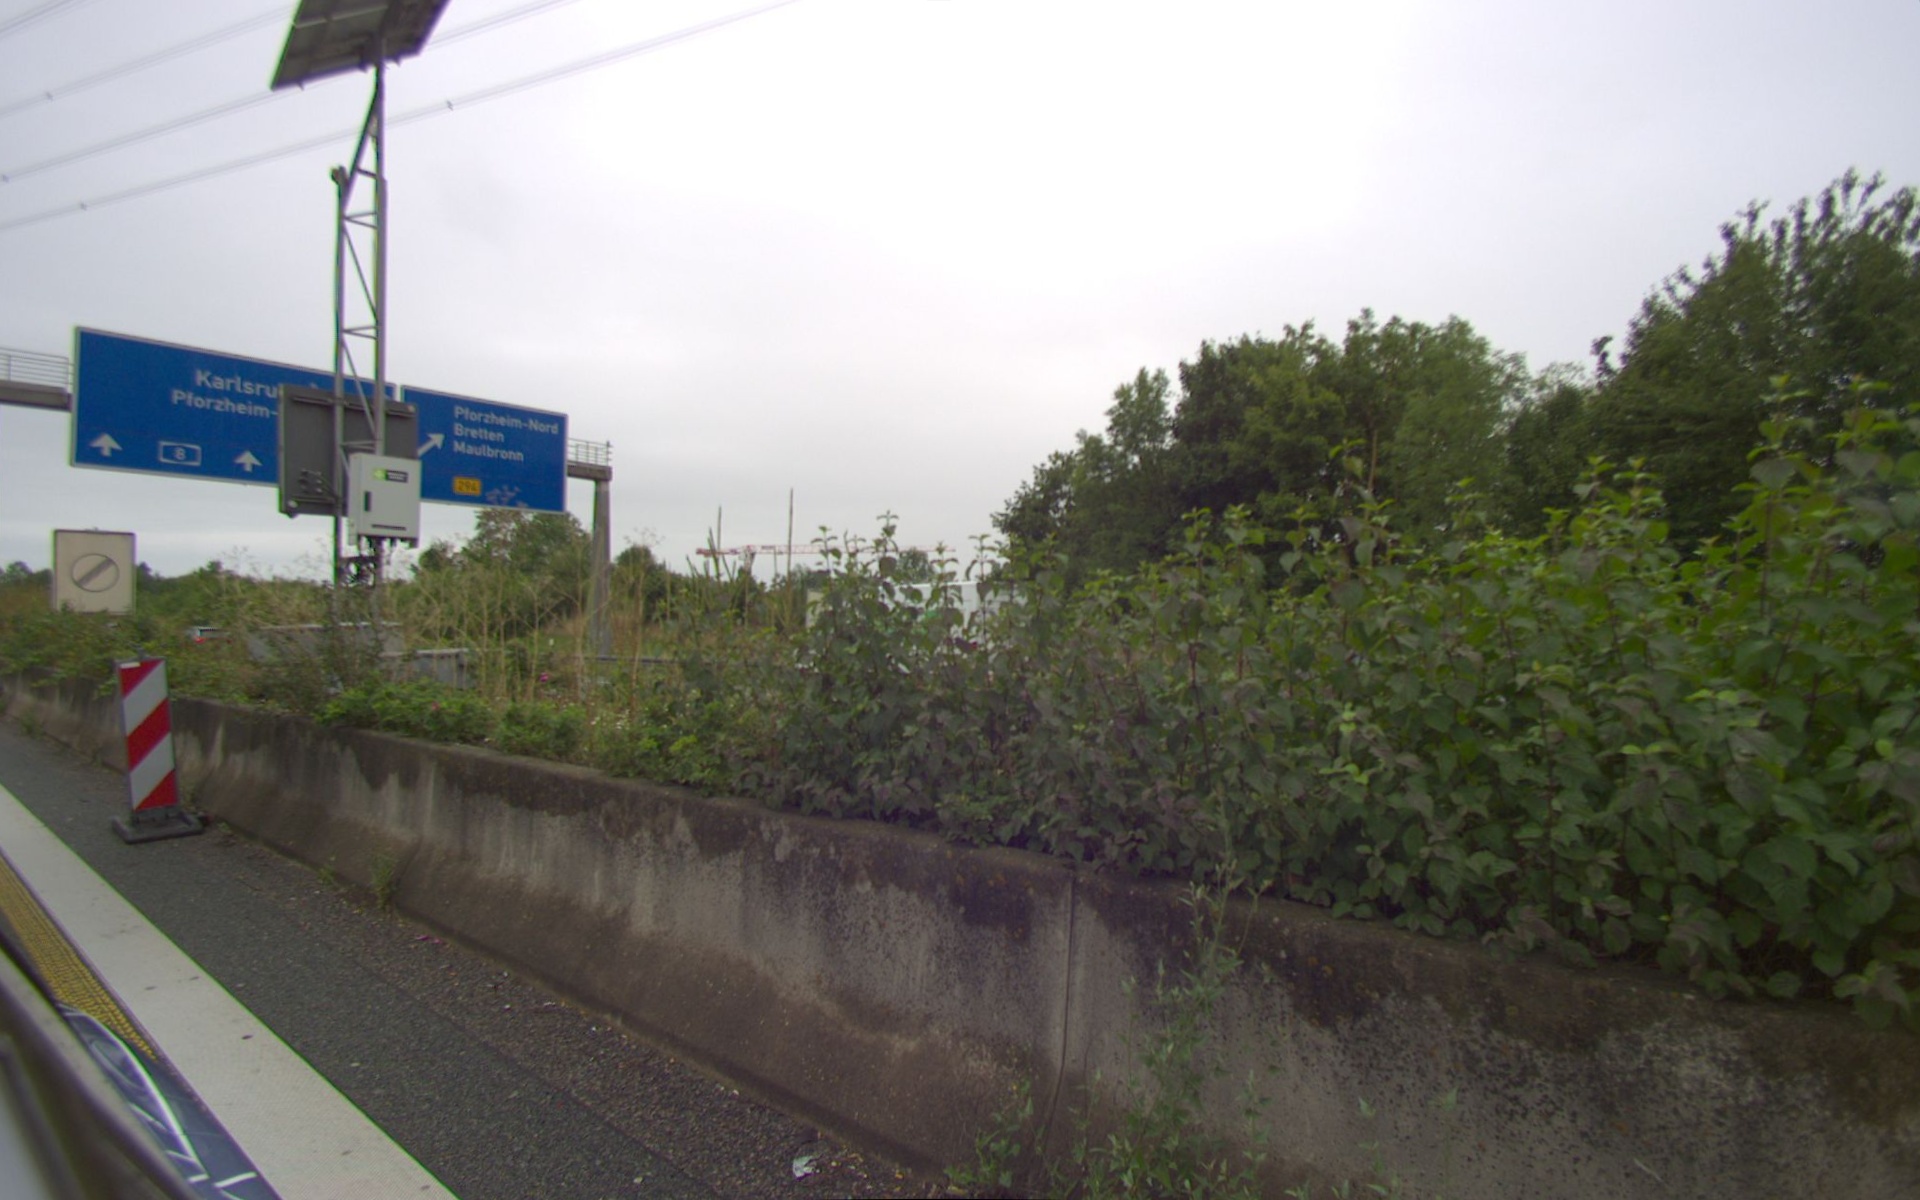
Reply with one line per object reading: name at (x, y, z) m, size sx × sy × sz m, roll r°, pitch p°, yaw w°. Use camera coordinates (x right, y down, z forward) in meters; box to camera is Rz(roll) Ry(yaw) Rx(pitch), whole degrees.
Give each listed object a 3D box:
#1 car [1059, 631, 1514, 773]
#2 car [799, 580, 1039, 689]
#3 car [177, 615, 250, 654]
car at (3.628, 1.027, 11.806) m, size 4.664 × 1.292 × 1.973 m, roll -1°, pitch -1°, yaw 41°
car at (-0.964, 0.688, 21.196) m, size 5.057 × 2.029 × 1.973 m, roll -1°, pitch -1°, yaw 41°
car at (-35.214, 1.595, 47.714) m, size 3.998 × 1.741 × 1.972 m, roll -1°, pitch -1°, yaw 41°
